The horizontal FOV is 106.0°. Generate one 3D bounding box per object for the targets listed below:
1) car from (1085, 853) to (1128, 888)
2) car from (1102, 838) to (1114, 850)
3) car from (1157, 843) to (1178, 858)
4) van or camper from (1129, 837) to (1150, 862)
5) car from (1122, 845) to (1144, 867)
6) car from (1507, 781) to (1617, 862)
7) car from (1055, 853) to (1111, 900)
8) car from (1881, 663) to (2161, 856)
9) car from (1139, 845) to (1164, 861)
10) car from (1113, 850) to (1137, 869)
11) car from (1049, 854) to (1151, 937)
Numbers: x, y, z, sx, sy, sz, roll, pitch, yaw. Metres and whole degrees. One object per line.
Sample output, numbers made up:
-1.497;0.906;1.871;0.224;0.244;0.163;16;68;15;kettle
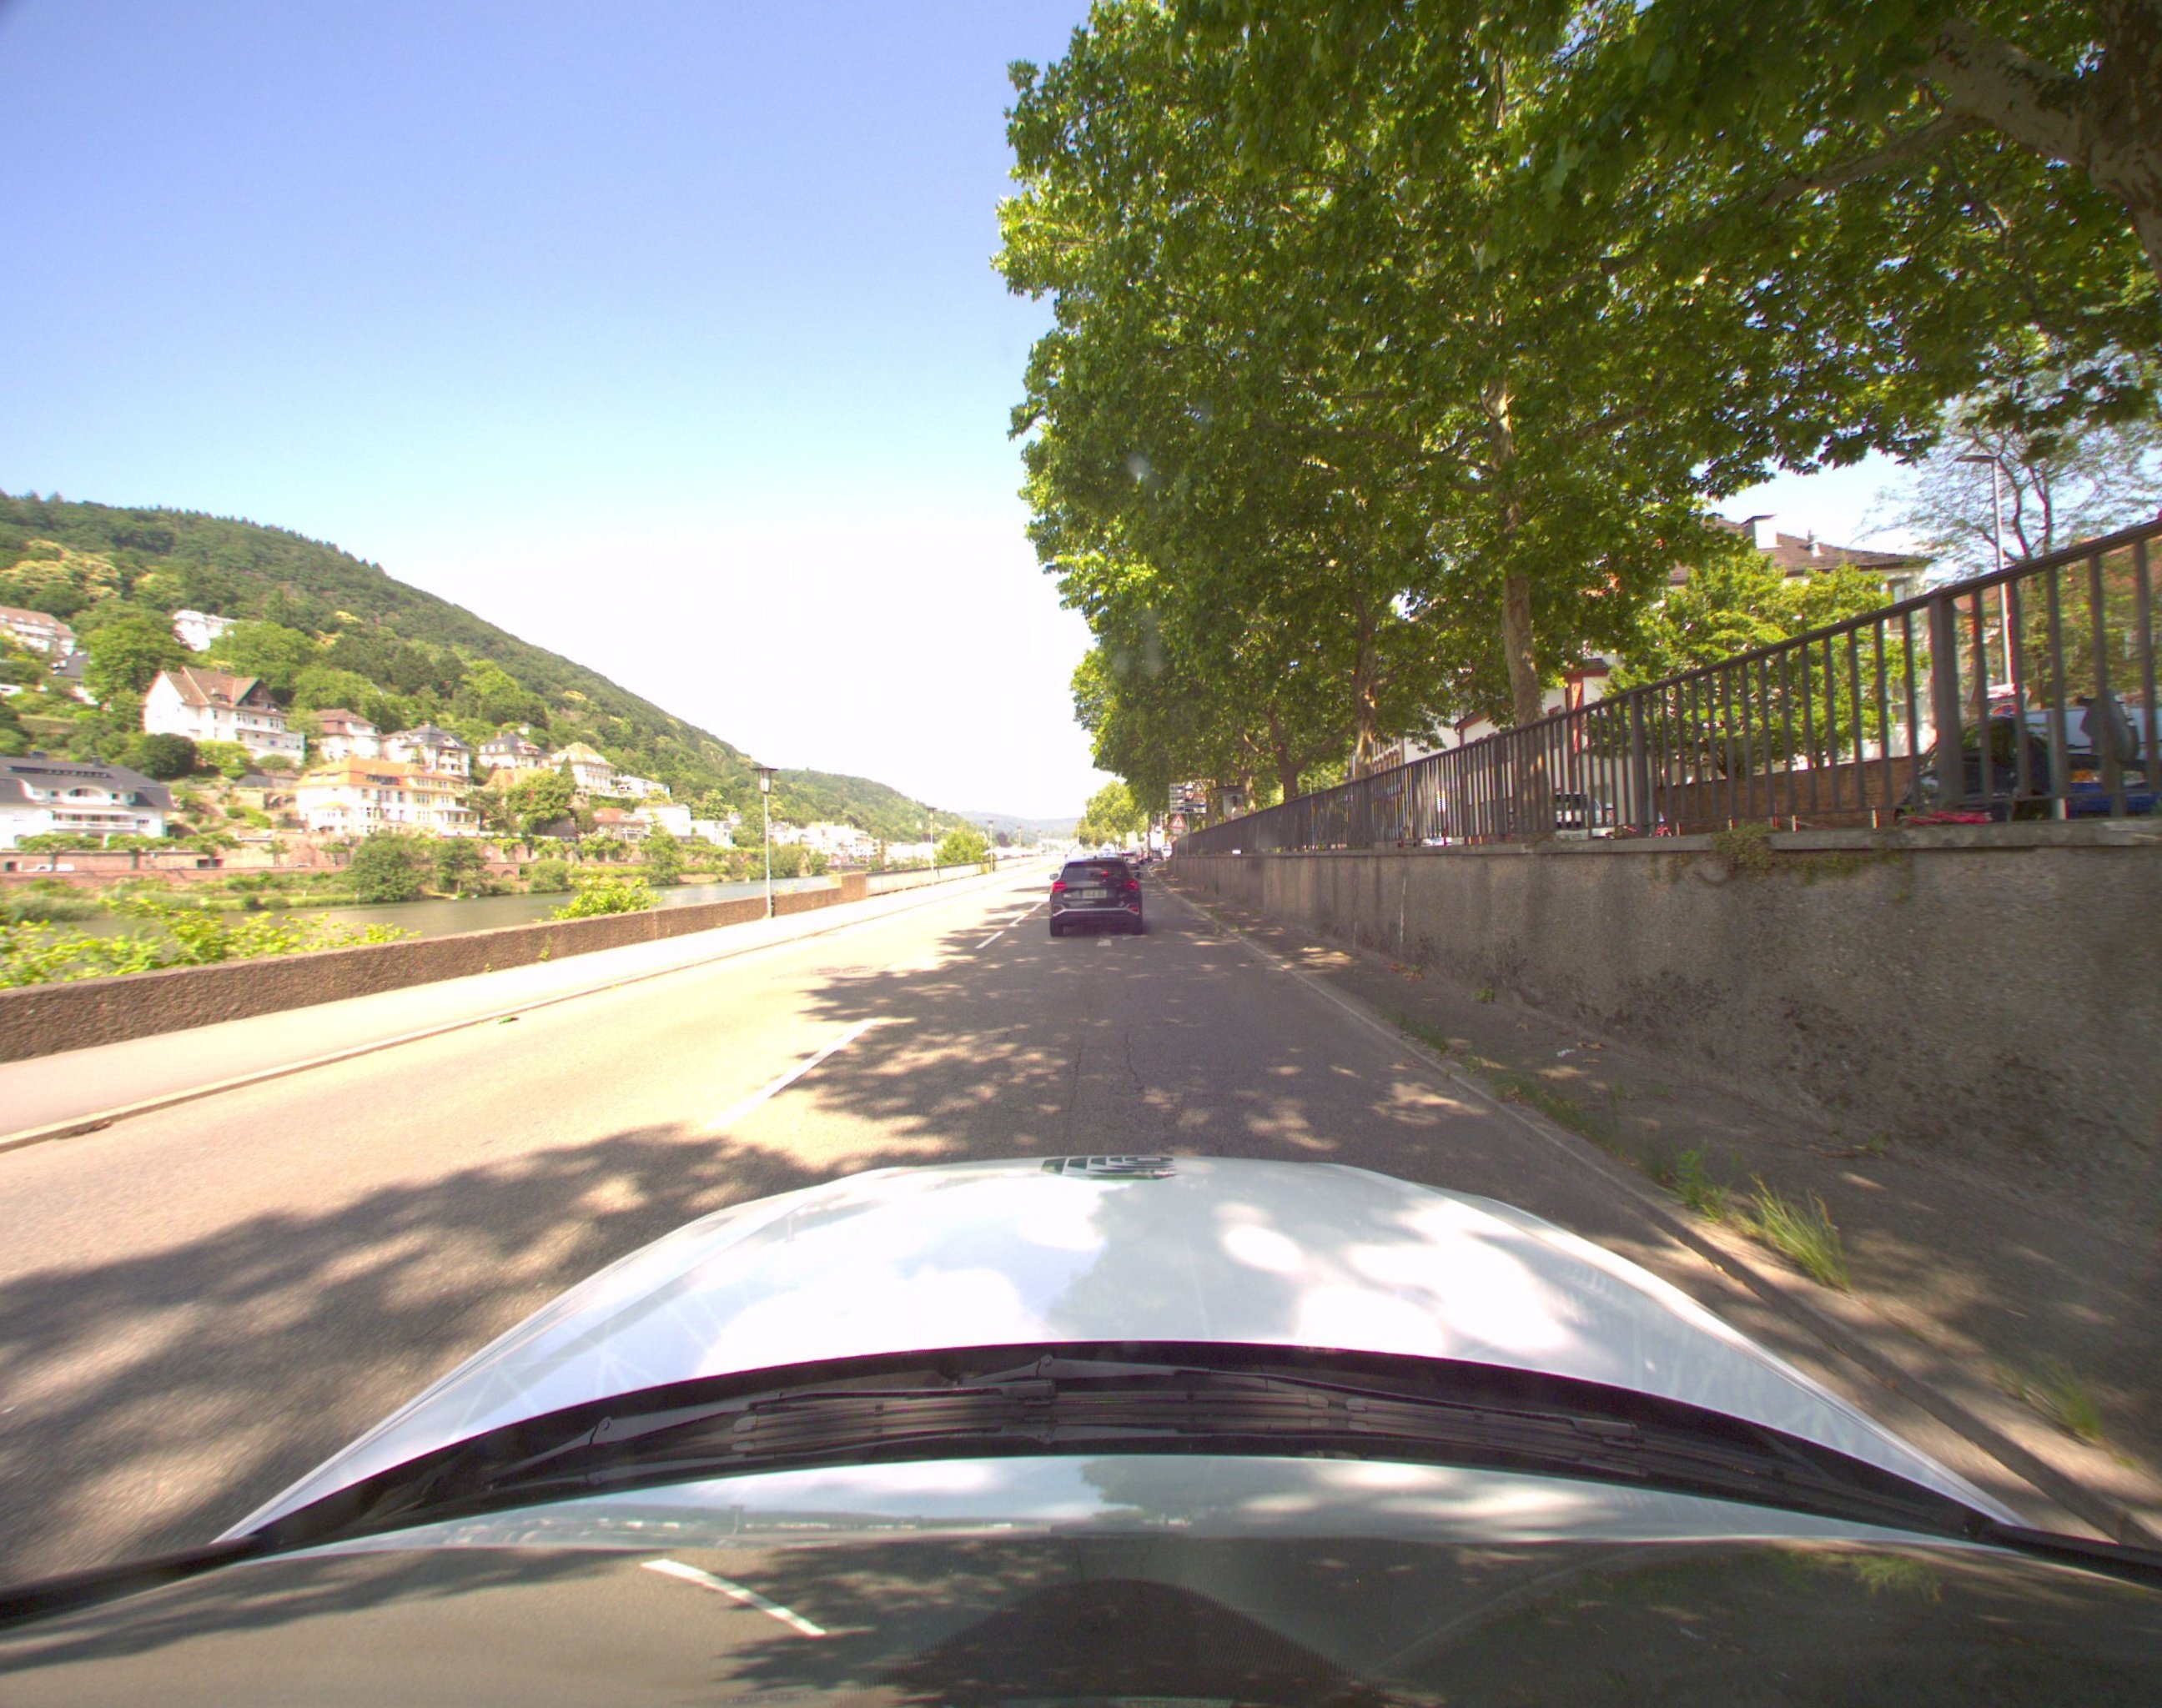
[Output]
1.143;0.699;37.298;1.822;1.486;4.001;-1;0;1;car
4.710;-1.724;143.446;1.986;2.013;4.001;-5;0;1;car
13.272;-0.530;125.751;2.652;2.013;5.826;-5;0;1;car
7.072;-0.569;99.263;2.300;2.847;4.249;-4;0;3;van or camper
5.473;0.187;86.197;1.986;2.169;4.001;-4;0;1;car
10.063;-0.613;17.123;1.757;1.469;4.025;-1;0;30;car
0.109;0.733;28.682;1.822;1.511;4.001;-1;0;1;car
9.674;-0.762;7.898;1.633;1.500;3.841;-2;-1;27;car
9.821;-0.154;113.974;3.087;2.013;5.826;-4;0;1;car
3.479;0.443;65.287;1.822;1.444;4.001;-1;0;1;car
0.395;0.761;16.855;1.822;1.486;4.001;-1;0;1;car
